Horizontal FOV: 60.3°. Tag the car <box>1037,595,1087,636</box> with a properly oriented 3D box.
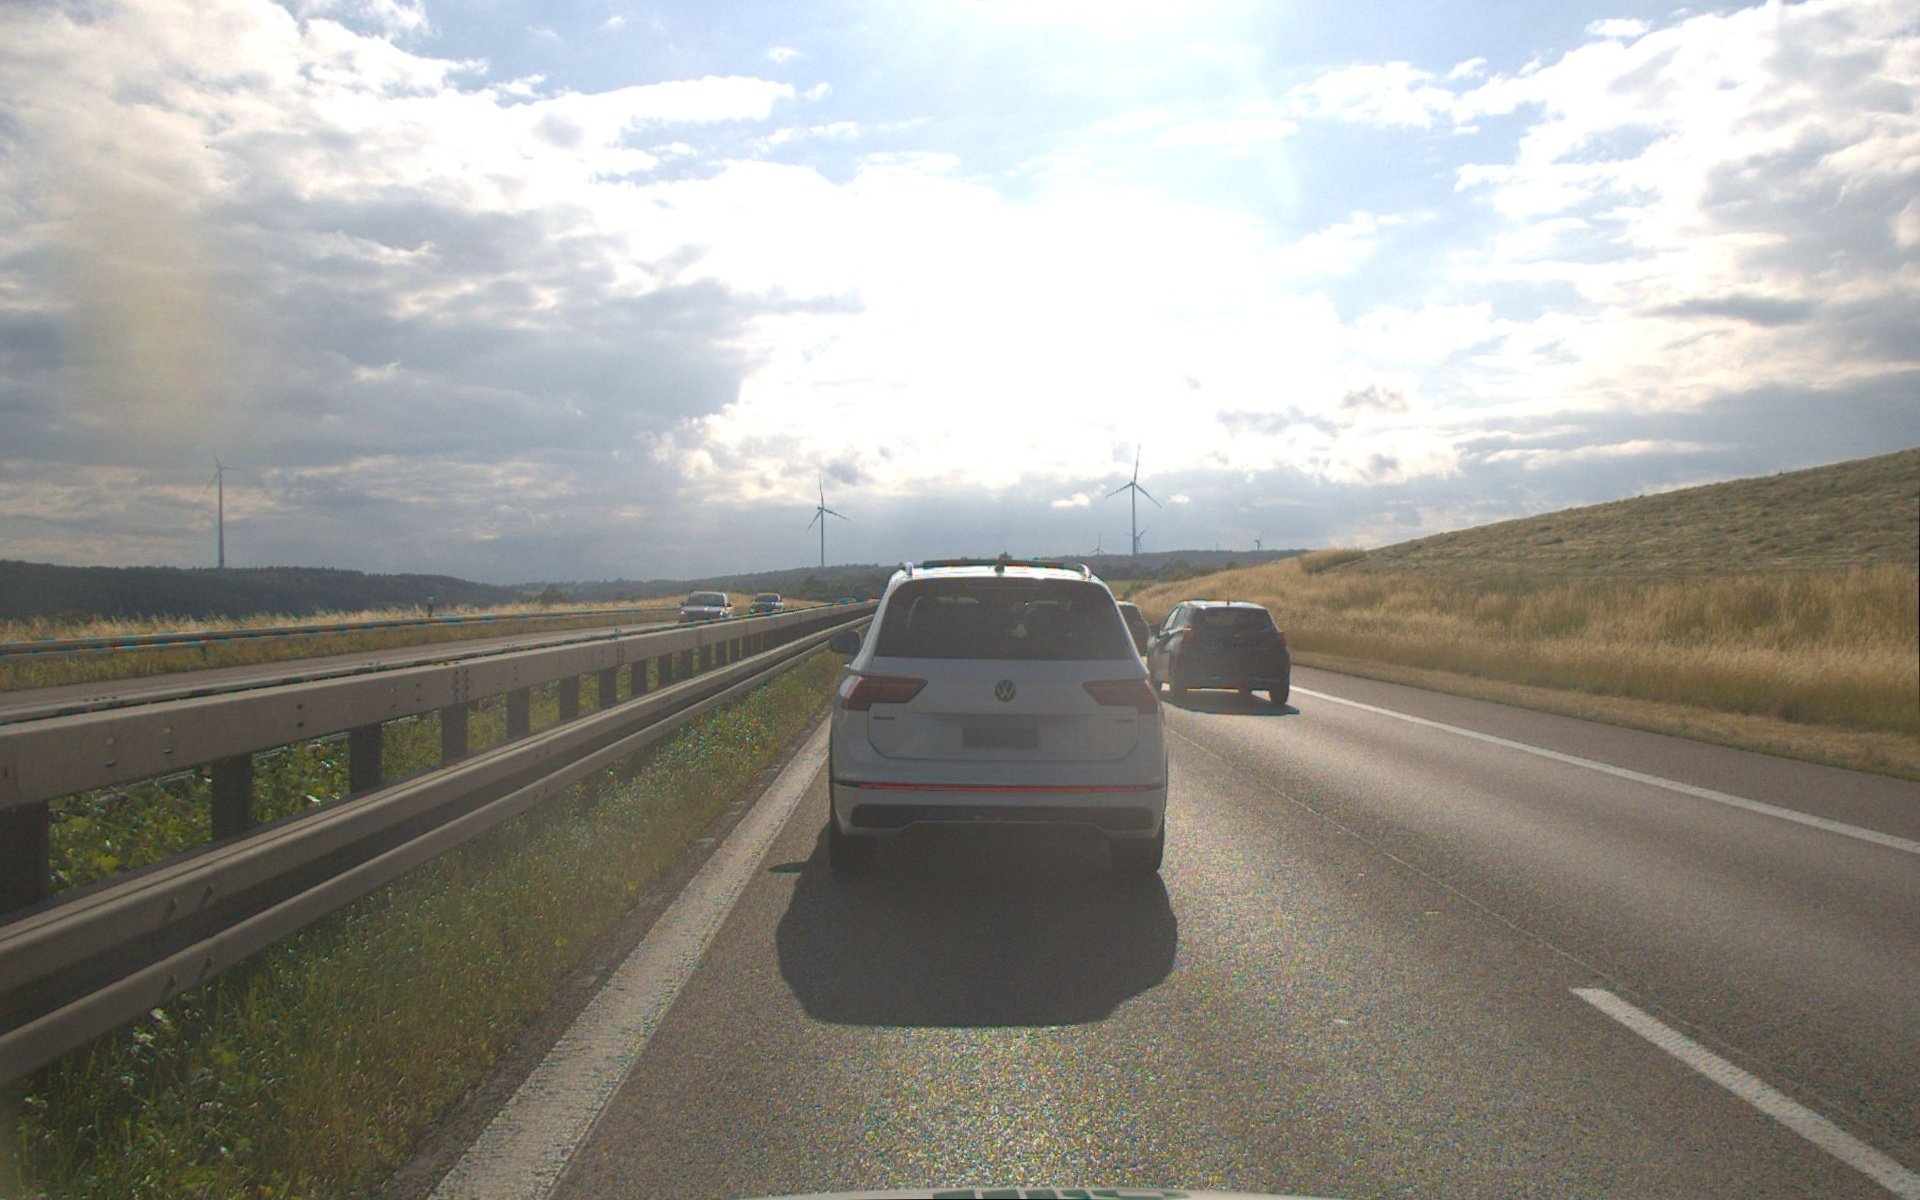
[{"bbox_3d":[4.045,0.620,66.065,1.669,1.573,3.999,1,0,-1],"label":"car"}]

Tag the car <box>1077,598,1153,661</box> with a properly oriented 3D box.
[{"bbox_3d":[4.305,0.797,46.359,1.669,1.679,3.999,1,0,-1],"label":"car"}]

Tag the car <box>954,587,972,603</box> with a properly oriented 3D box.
[{"bbox_3d":[0.303,-0.508,166.832,1.669,1.573,3.999,1,0,-1],"label":"car"}]

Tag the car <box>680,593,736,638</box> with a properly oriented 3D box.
[{"bbox_3d":[-9.442,0.579,62.249,1.583,1.613,4.063,1,0,-2],"label":"car"}]

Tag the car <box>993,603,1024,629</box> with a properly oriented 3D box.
[{"bbox_3d":[2.966,0.973,101.614,1.669,1.573,3.999,1,0,-1],"label":"car"}]

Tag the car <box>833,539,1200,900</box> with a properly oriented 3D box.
[{"bbox_3d":[0.244,0.582,9.929,1.734,1.705,3.999,1,0,-1],"label":"car"}]

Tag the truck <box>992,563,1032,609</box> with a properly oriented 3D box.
[{"bbox_3d":[4.256,-1.154,137.263,3.118,3.656,11.132,1,0,1],"label":"truck"}]

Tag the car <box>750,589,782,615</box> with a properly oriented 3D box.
[{"bbox_3d":[-11.924,0.148,101.700,1.583,1.547,3.998,1,0,-2],"label":"car"}]

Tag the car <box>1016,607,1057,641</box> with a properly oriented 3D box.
[{"bbox_3d":[3.624,1.111,78.788,1.669,1.573,3.999,1,0,-1],"label":"car"}]

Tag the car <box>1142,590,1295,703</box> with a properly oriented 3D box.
[{"bbox_3d":[3.898,0.669,25.548,1.669,1.573,3.999,1,0,-1],"label":"car"}]
